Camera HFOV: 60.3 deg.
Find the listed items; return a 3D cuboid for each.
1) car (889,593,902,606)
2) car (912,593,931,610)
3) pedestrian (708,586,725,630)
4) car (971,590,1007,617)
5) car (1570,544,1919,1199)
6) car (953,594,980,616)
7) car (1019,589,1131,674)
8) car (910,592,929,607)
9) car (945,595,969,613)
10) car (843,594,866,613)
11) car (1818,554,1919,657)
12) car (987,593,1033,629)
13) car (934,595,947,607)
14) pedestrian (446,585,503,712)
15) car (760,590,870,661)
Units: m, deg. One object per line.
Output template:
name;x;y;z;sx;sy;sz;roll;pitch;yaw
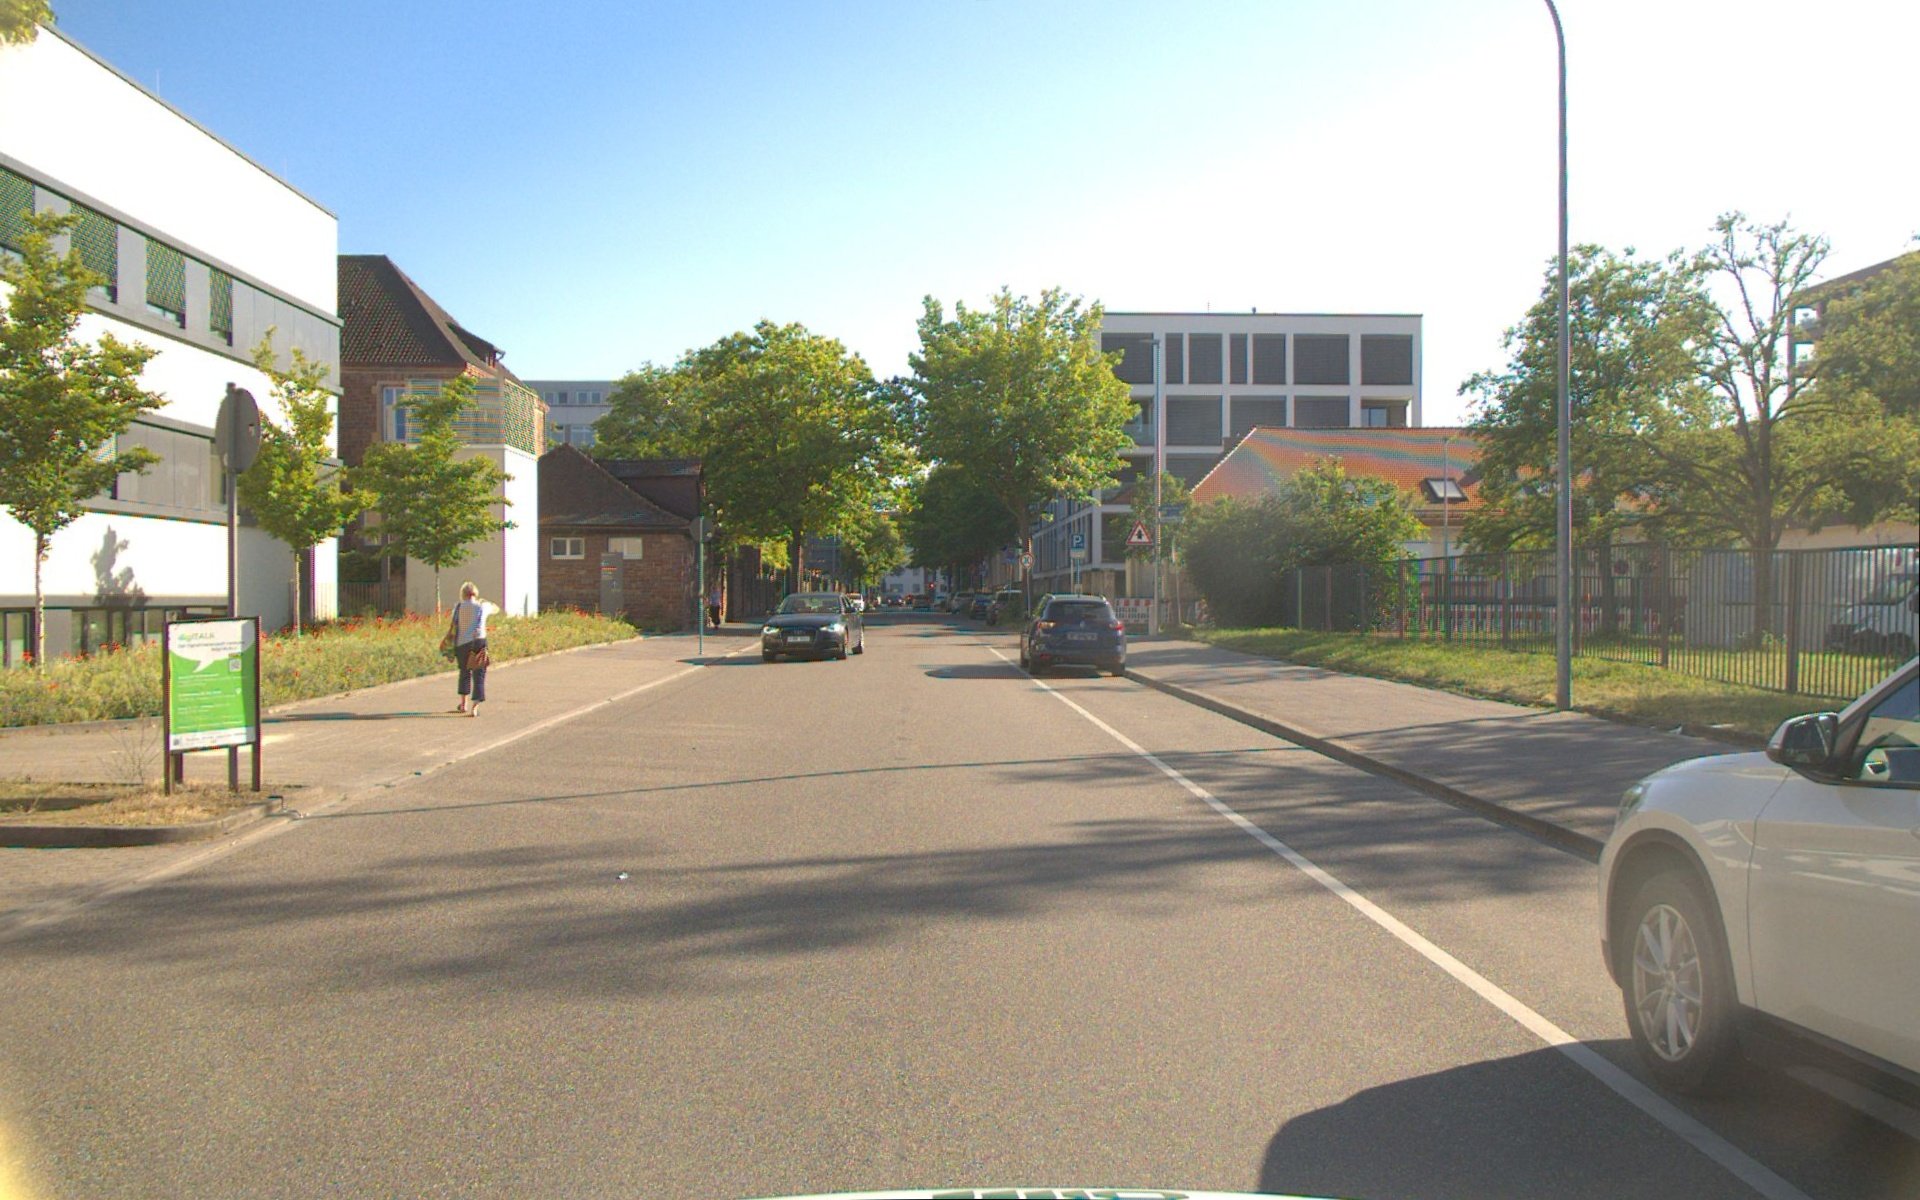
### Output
car;-8.231;-0.055;211.273;1.620;1.557;3.998;0;0;-2
car;-3.669;0.161;157.330;1.732;1.575;4.063;0;0;-3
pedestrian;-8.871;0.298;60.265;0.511;1.590;1.095;0;0;-3
car;1.631;0.196;92.762;1.732;1.465;3.997;0;0;-3
car;3.185;0.696;3.768;1.777;1.616;4.259;1;0;-4
car;0.481;0.384;121.484;1.911;1.606;3.835;0;0;-1
car;2.137;0.551;31.665;1.781;1.478;4.213;-1;0;-1
car;-3.838;-0.044;157.398;1.851;1.424;3.835;0;0;-1
car;-0.248;0.317;137.391;1.953;1.491;3.835;0;0;-1
car;-8.410;0.267;132.006;1.732;1.513;3.997;0;0;-3
car;22.242;0.091;36.847;5.173;2.240;2.001;0;1;4
car;2.112;0.452;71.416;1.669;1.494;4.787;0;0;-2
car;-2.426;0.106;202.532;1.553;1.424;3.835;0;0;-1
pedestrian;-6.017;0.593;20.519;0.527;1.550;0.607;-1;0;-1
car;-3.195;0.531;37.253;1.724;1.467;4.540;-1;0;5
